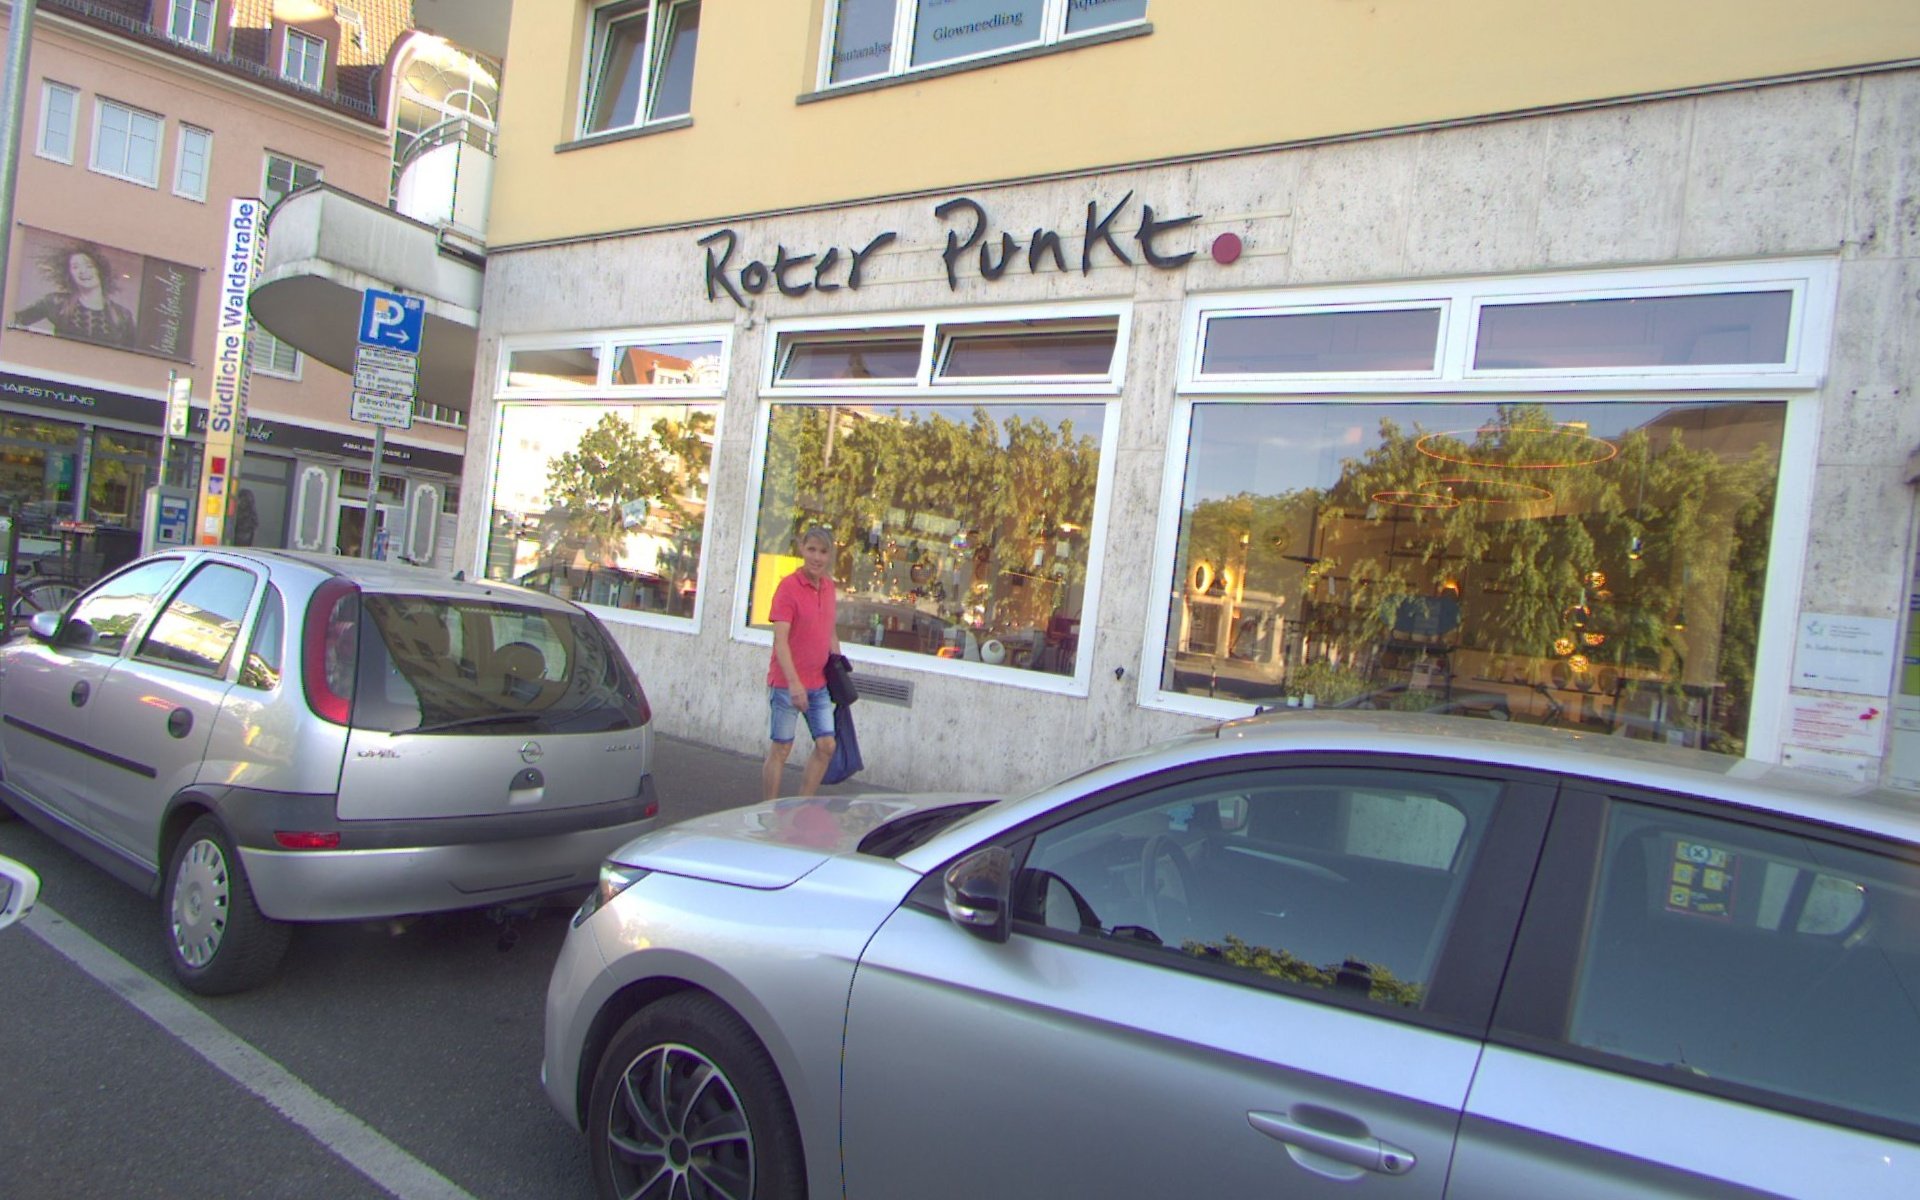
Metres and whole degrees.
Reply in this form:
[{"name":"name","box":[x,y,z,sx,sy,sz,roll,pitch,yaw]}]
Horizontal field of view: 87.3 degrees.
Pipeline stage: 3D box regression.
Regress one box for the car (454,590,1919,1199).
[{"name":"car","box":[0.779,0.928,2.311,3.643,1.415,1.653,7,-1,30]}]

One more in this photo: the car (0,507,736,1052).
[{"name":"car","box":[-2.942,0.481,4.462,3.583,1.397,1.616,7,-2,32]}]

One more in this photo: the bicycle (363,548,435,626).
[{"name":"bicycle","box":[-10.042,-0.253,17.978,0.656,1.213,2.187,7,-1,-39]}]

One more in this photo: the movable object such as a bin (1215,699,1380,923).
[{"name":"movable object such as a bin","box":[1.869,1.104,5.523,0.592,1.041,0.811,7,0,32]}]

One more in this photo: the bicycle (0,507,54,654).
[{"name":"bicycle","box":[-9.110,-0.234,8.703,0.778,1.284,1.721,7,1,37]}]

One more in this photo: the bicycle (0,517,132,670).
[{"name":"bicycle","box":[-8.106,-0.083,8.229,0.681,1.208,1.885,8,1,37]}]

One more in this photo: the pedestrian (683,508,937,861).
[{"name":"pedestrian","box":[-0.872,0.438,5.823,0.994,1.807,0.862,7,2,40]}]

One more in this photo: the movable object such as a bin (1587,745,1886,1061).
[{"name":"movable object such as a bin","box":[3.390,1.267,4.497,0.879,1.066,0.751,7,0,32]}]

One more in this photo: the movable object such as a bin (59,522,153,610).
[{"name":"movable object such as a bin","box":[-11.902,-0.468,14.030,0.617,1.105,0.754,6,-1,34]}]

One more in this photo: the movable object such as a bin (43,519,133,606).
[{"name":"movable object such as a bin","box":[-12.438,-0.526,14.350,0.617,1.105,0.734,6,-1,34]}]
